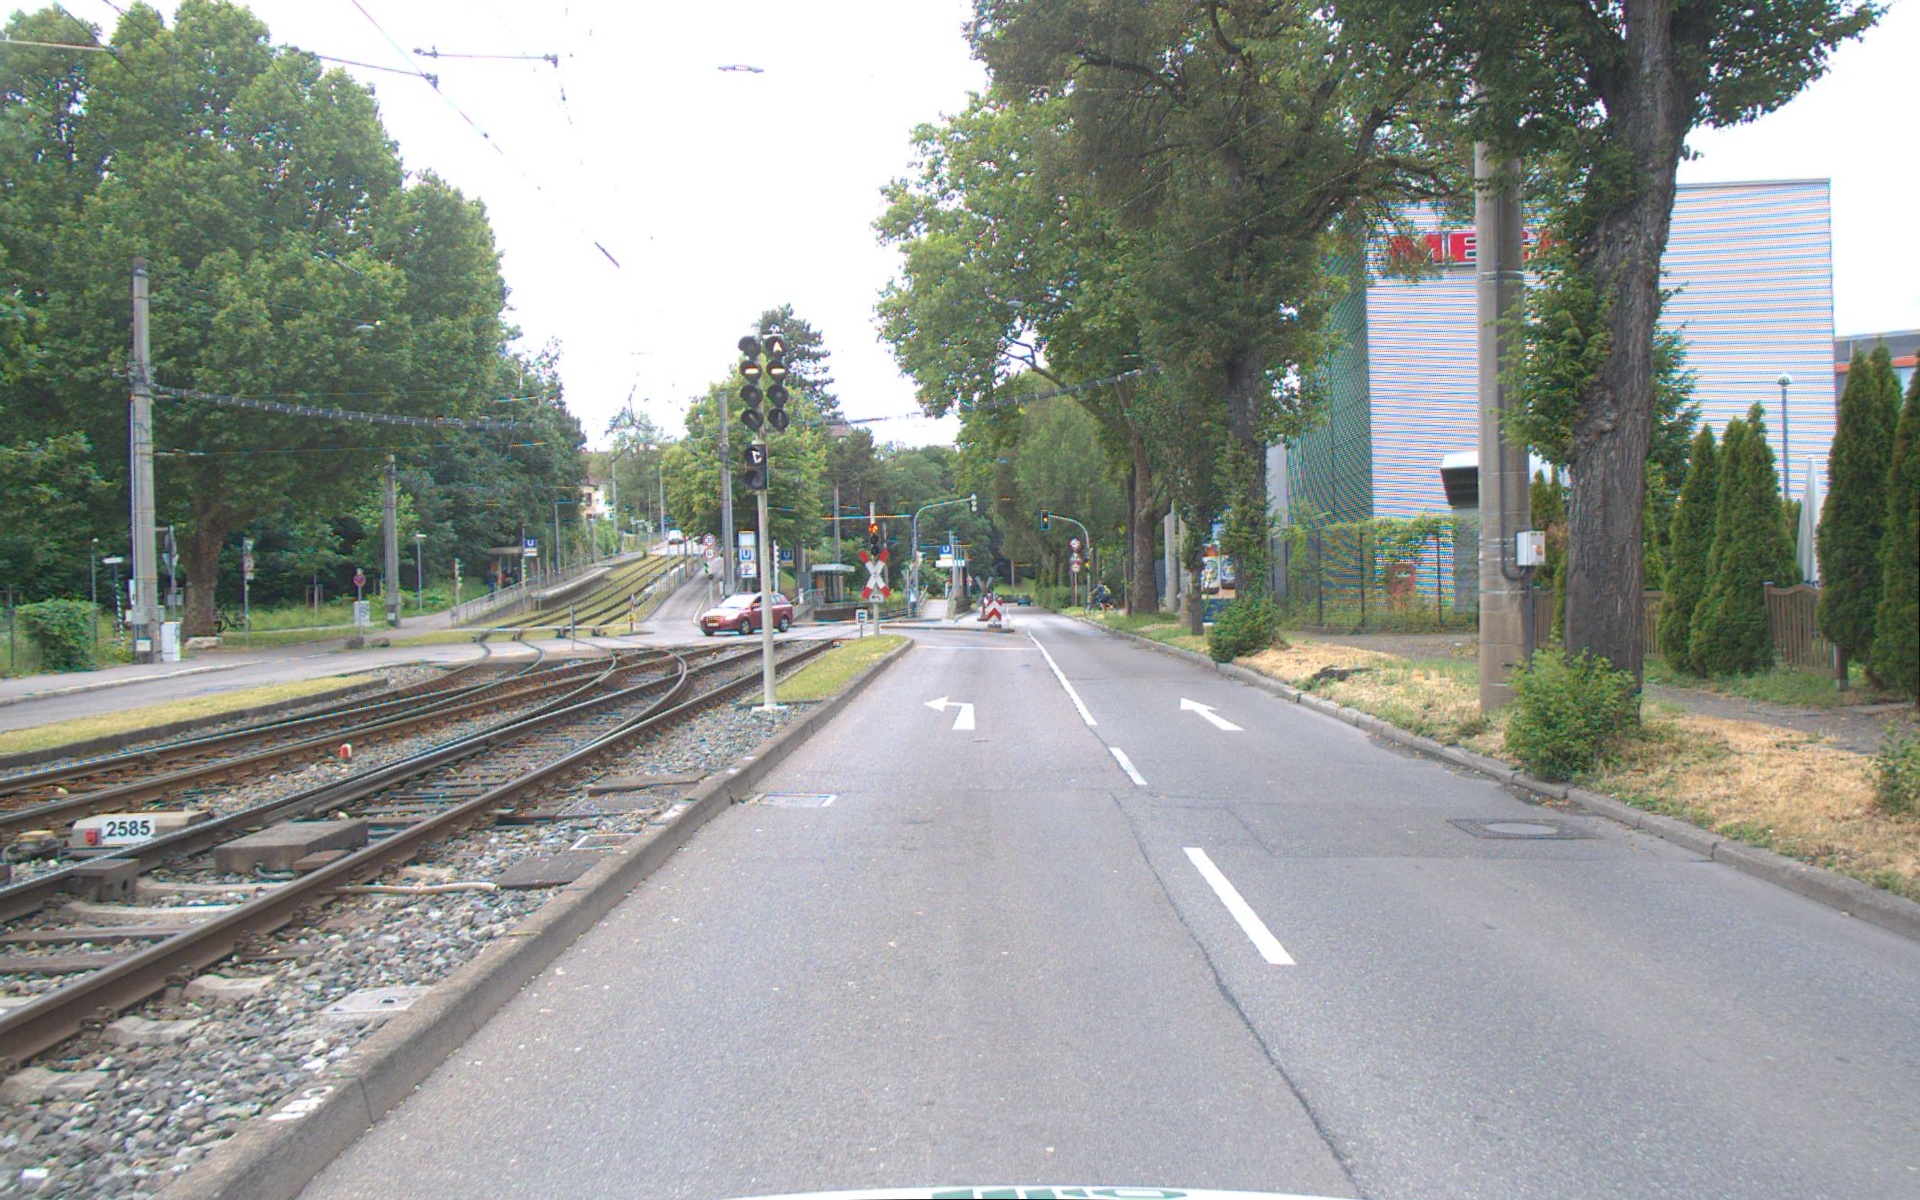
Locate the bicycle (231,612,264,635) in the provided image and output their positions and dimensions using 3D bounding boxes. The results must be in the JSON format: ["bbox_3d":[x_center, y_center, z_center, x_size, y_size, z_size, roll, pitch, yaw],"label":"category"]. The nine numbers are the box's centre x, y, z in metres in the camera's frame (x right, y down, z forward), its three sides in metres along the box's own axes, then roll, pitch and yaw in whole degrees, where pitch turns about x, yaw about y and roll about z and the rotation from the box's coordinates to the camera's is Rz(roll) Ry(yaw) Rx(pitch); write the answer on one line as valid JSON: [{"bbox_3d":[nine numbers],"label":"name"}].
[{"bbox_3d":[-31.943,1.053,74.104,1.621,1.030,0.672,-1,-2,39],"label":"bicycle"}]

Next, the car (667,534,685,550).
[{"bbox_3d":[-39.553,-8.094,230.450,1.954,2.049,3.998,-2,0,-3],"label":"car"}]

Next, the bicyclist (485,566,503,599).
[{"bbox_3d":[-27.259,-1.007,96.784,0.805,1.881,1.050,-2,2,-7],"label":"bicyclist"}]

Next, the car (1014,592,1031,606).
[{"bbox_3d":[8.510,-0.118,224.524,1.954,1.847,3.998,-2,0,-3],"label":"car"}]

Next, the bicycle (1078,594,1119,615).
[{"bbox_3d":[7.217,0.253,86.174,2.030,1.024,0.668,-2,0,7],"label":"bicycle"}]

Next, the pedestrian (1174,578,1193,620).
[{"bbox_3d":[8.640,-0.039,63.911,0.652,1.580,0.935,-2,0,7],"label":"pedestrian"}]

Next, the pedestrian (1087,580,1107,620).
[{"bbox_3d":[7.136,-0.011,86.180,0.911,2.049,0.668,-2,0,7],"label":"pedestrian"}]

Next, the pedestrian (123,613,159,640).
[{"bbox_3d":[-34.326,1.099,69.321,0.887,1.115,1.077,0,-1,36],"label":"pedestrian"}]

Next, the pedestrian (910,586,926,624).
[{"bbox_3d":[-2.095,0.245,82.451,0.753,1.885,0.910,-2,0,-2],"label":"pedestrian"}]

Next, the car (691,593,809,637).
[{"bbox_3d":[-7.775,0.543,61.685,1.958,1.542,4.489,-1,0,32],"label":"car"}]

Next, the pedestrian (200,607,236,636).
[{"bbox_3d":[-32.820,0.951,73.137,1.095,1.290,1.051,-1,-2,39],"label":"pedestrian"}]

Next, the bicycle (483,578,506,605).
[{"bbox_3d":[-27.271,-0.510,96.993,0.808,1.366,2.993,-2,3,-7],"label":"bicycle"}]
